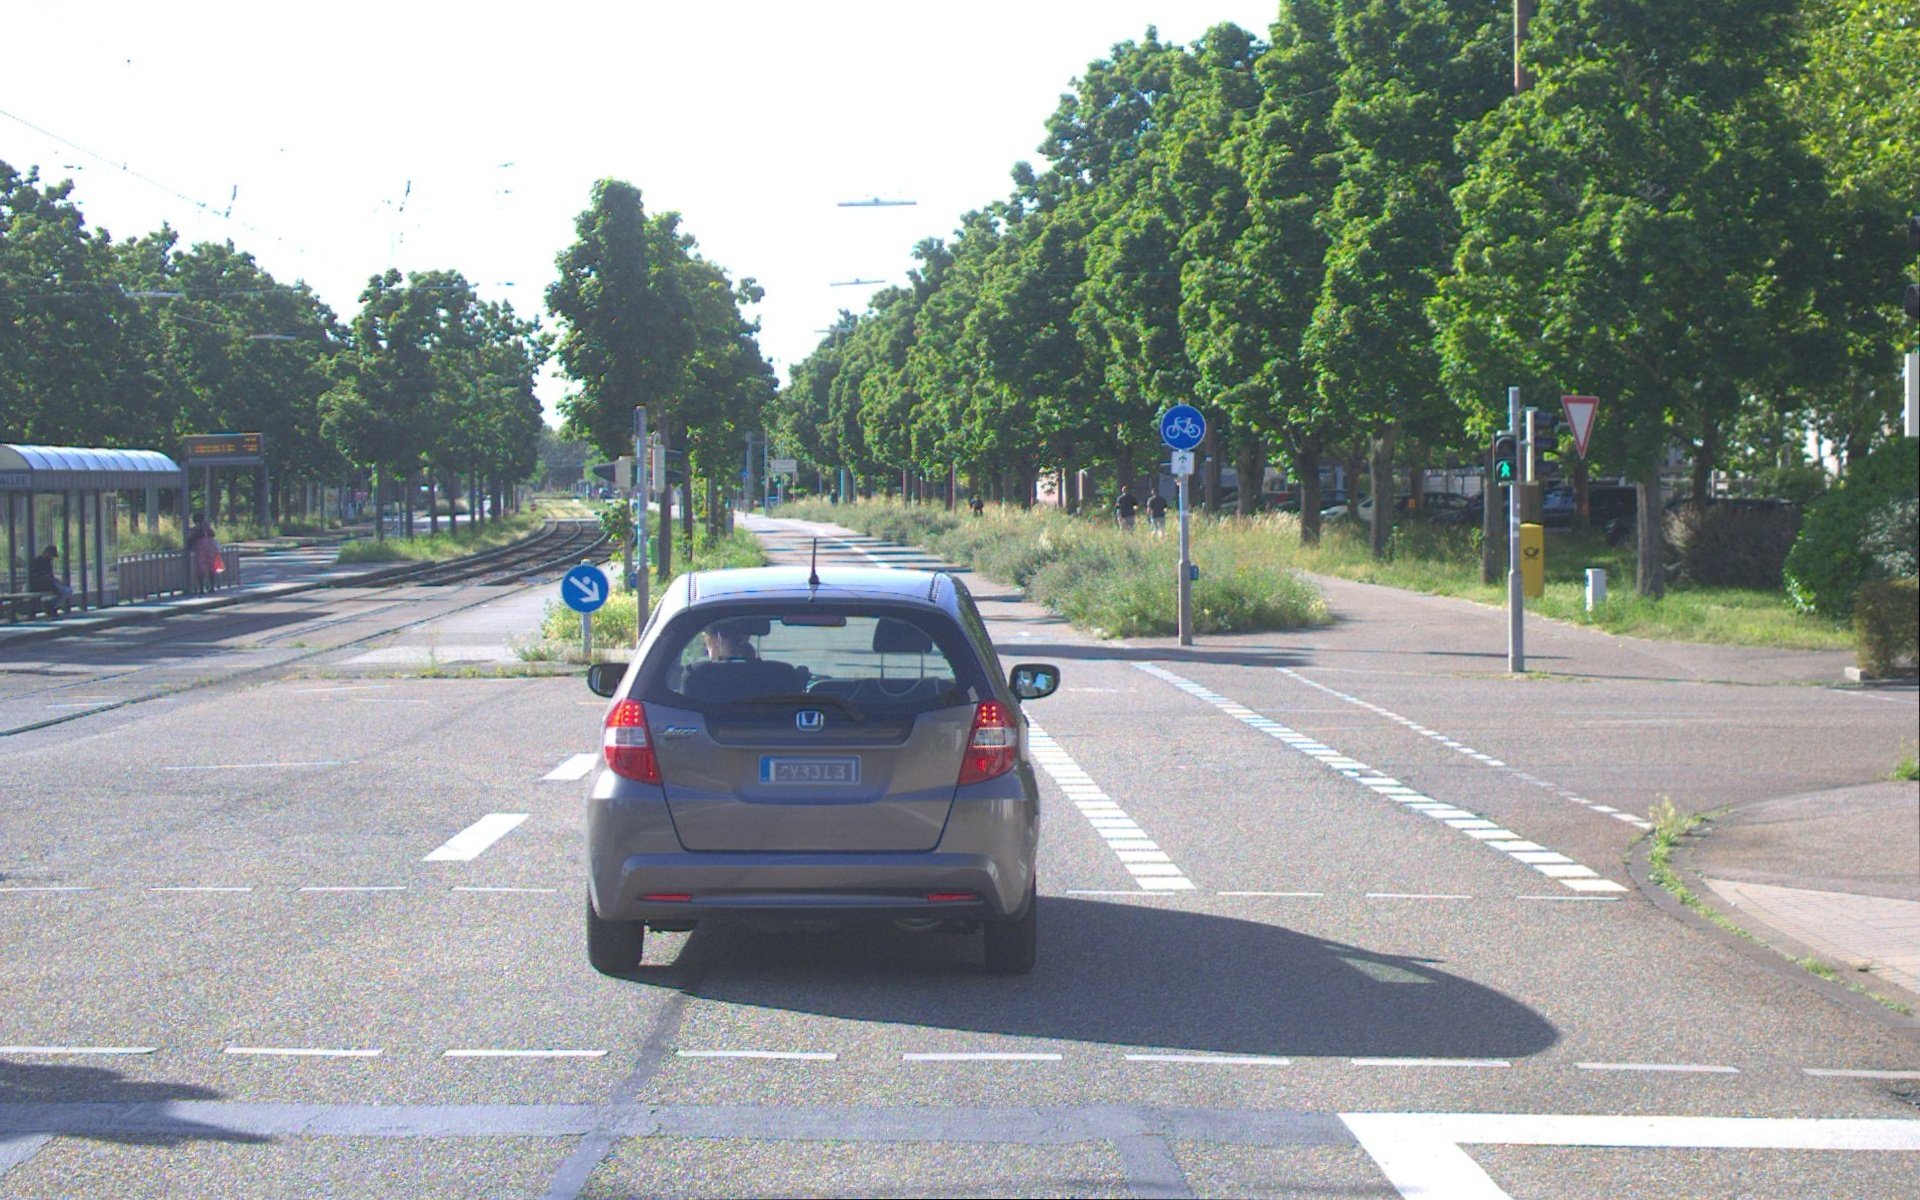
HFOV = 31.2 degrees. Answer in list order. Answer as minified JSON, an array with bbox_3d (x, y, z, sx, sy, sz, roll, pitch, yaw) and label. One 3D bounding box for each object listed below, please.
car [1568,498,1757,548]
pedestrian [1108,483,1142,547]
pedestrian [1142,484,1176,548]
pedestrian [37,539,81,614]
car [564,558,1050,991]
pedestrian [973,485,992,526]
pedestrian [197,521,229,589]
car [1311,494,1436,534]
[{"bbox_3d":[19.366,-2.132,94.852,4.679,1.322,2.088,0,2,34],"label":"car"},{"bbox_3d":[4.872,-2.508,101.765,0.882,1.877,0.875,-1,1,-4],"label":"pedestrian"},{"bbox_3d":[5.894,-2.498,101.791,0.882,1.877,0.875,-1,1,-4],"label":"pedestrian"},{"bbox_3d":[-15.617,-0.409,59.572,0.563,1.252,0.581,-3,1,-1],"label":"pedestrian"},{"bbox_3d":[-0.563,0.599,13.952,1.701,1.518,3.710,0,0,-1],"label":"car"},{"bbox_3d":[0.938,-3.892,141.987,0.725,1.685,0.821,0,1,-3],"label":"pedestrian"},{"bbox_3d":[-16.105,-0.977,74.129,0.544,1.442,0.559,-1,1,-1],"label":"pedestrian"},{"bbox_3d":[16.670,-3.460,138.653,4.630,1.550,2.001,-1,2,-6],"label":"car"}]
